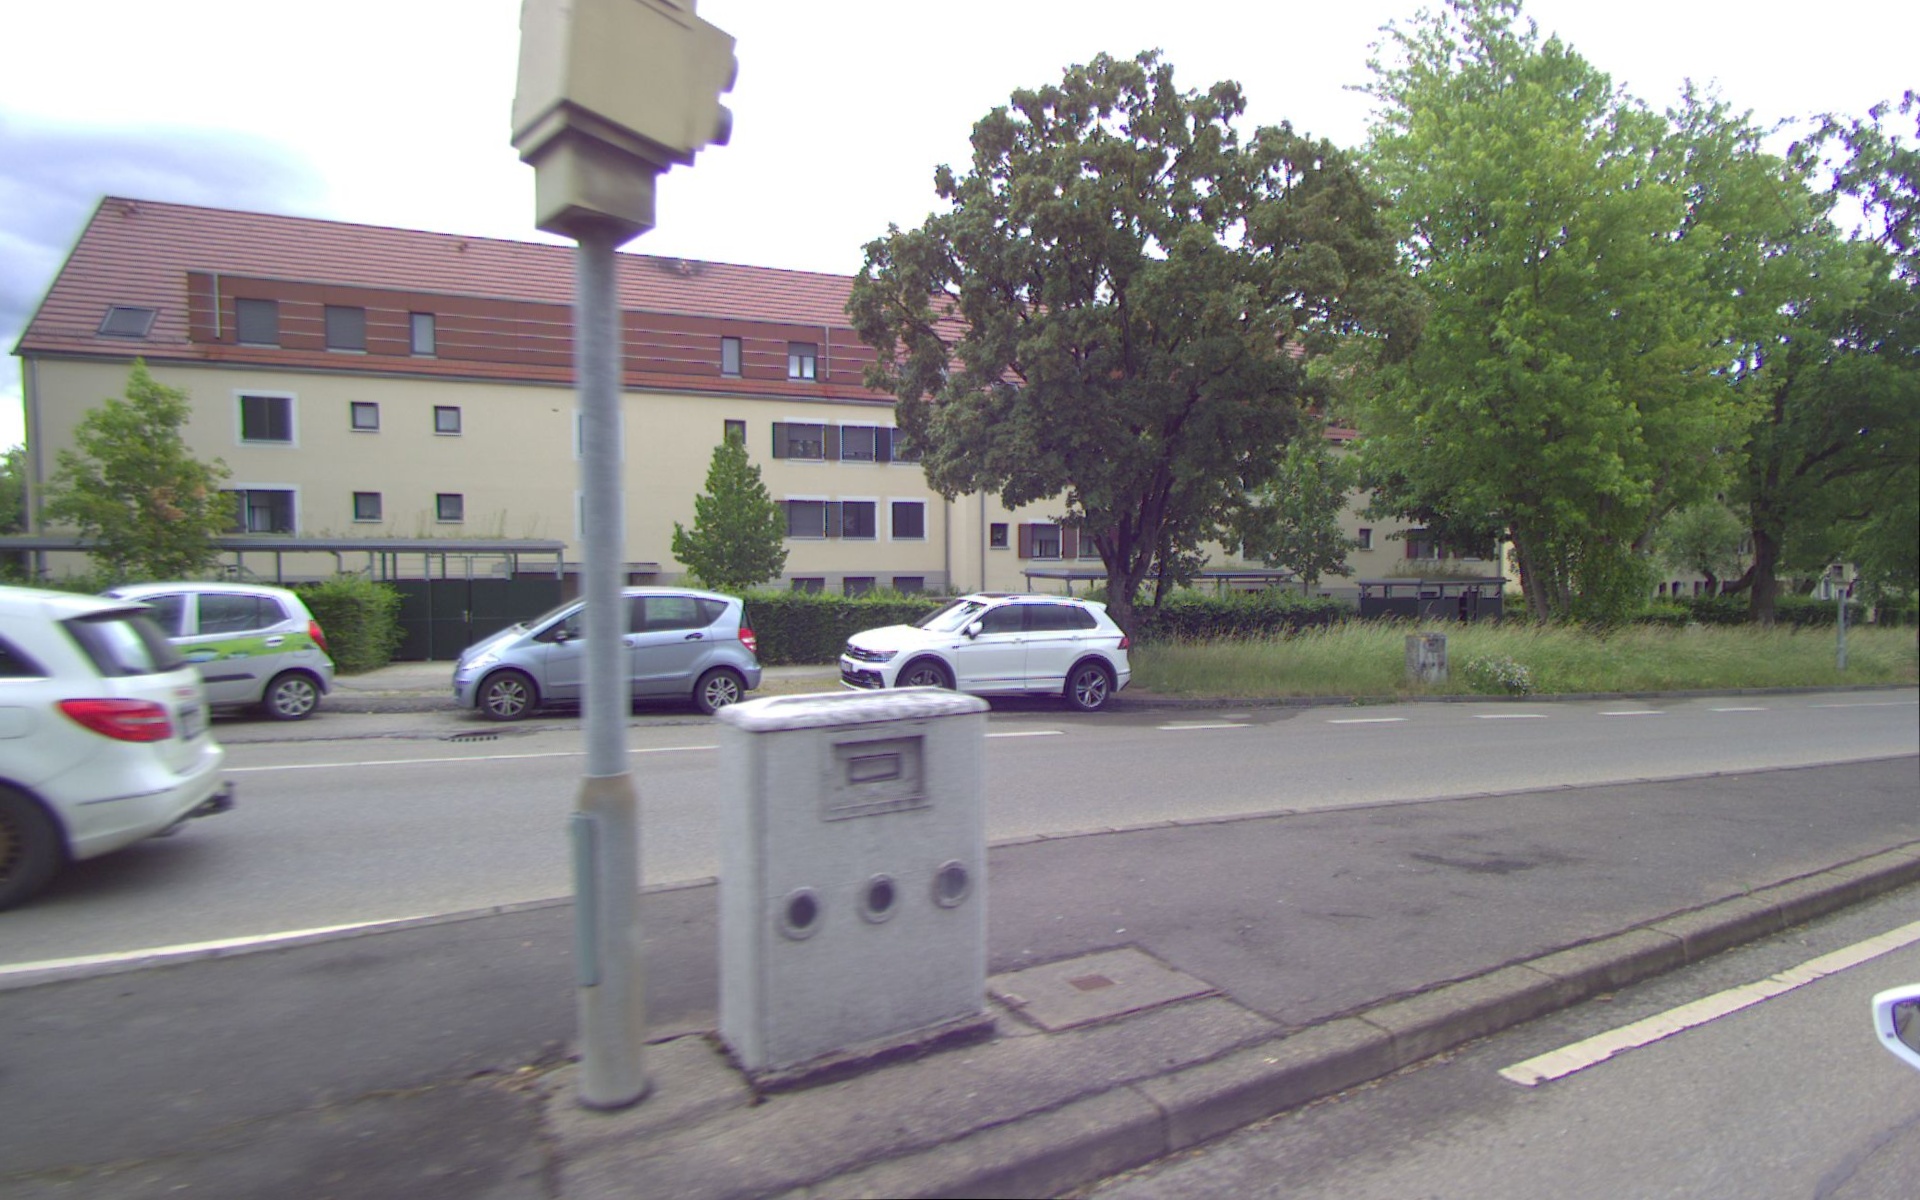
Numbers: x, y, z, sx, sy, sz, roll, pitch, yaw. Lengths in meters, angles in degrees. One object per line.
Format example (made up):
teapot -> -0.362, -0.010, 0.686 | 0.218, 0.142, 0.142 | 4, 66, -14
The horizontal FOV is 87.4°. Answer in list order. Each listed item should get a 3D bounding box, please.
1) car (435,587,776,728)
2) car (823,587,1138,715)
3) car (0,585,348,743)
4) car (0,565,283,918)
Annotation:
car -> -4.589, 0.678, 13.234 | 3.943, 1.618, 1.871 | 1, 1, -23
car -> 0.304, 0.738, 15.126 | 4.328, 1.689, 1.871 | 2, 1, -23
car -> -9.296, 0.622, 11.087 | 1.853, 1.527, 3.980 | 1, 0, 41
car -> -5.920, 0.583, 4.746 | 4.286, 1.591, 1.867 | 2, 0, -29
